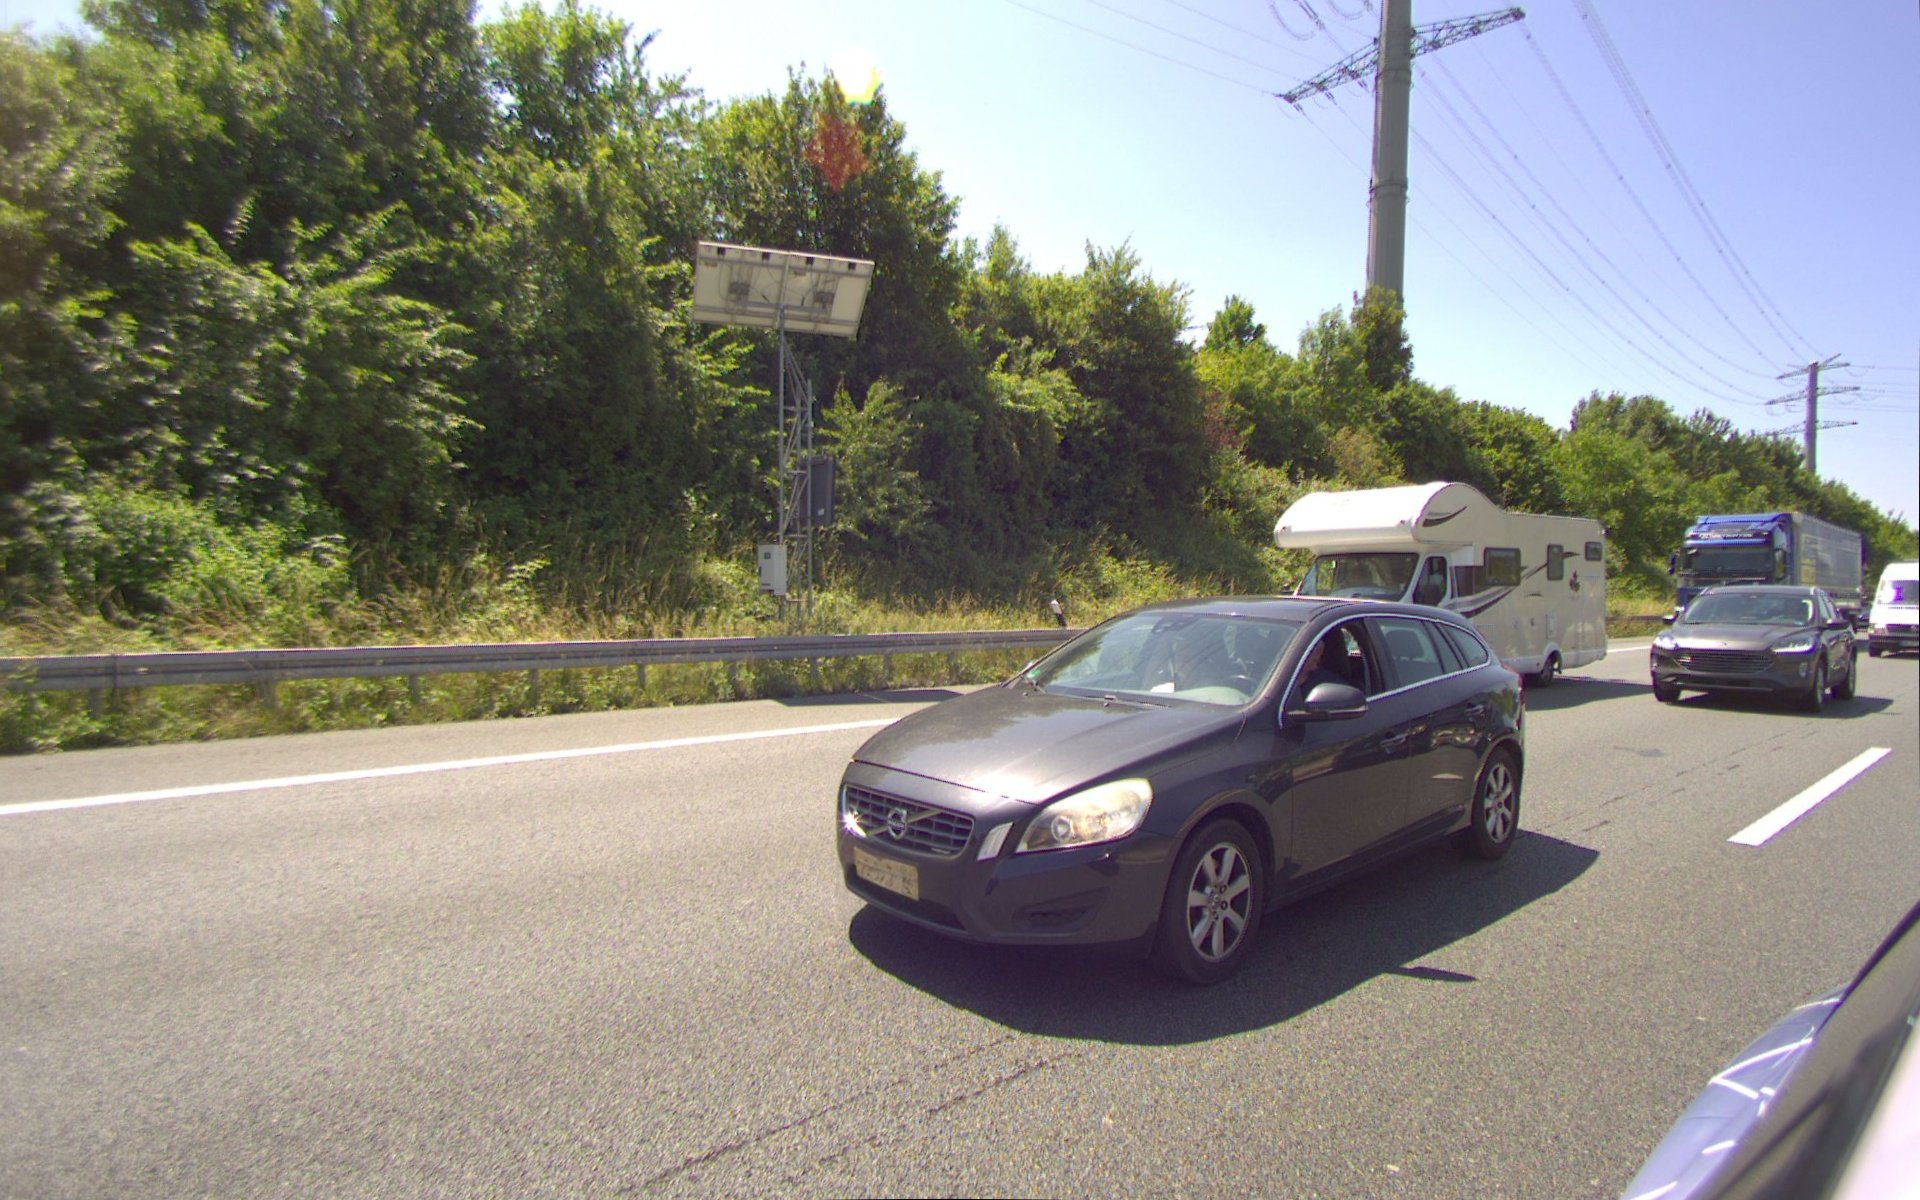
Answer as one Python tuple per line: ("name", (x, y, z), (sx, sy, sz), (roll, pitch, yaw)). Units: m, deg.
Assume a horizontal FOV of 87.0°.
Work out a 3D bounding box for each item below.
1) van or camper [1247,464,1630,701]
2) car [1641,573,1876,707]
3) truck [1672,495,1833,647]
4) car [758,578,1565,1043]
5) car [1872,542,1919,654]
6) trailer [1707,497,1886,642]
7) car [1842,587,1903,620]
("van or camper", (7.964, -0.265, 16.341), (7.491, 3.082, 2.375), (-1, 0, -37))
("car", (11.492, 0.467, 14.468), (4.146, 1.631, 1.892), (-1, 0, -41))
("truck", (24.137, -0.829, 30.748), (5.538, 4.197, 2.790), (-1, 0, -41))
("car", (1.355, 0.629, 5.275), (4.431, 1.437, 1.798), (-1, 0, -41))
("car", (26.364, -0.081, 27.138), (6.588, 2.753, 2.041), (-1, 0, -41))
("trailer", (29.627, -0.980, 35.504), (12.653, 4.317, 2.772), (-1, 0, -41))
("car", (44.038, 0.152, 48.820), (3.805, 1.538, 1.719), (-1, 0, -40))
